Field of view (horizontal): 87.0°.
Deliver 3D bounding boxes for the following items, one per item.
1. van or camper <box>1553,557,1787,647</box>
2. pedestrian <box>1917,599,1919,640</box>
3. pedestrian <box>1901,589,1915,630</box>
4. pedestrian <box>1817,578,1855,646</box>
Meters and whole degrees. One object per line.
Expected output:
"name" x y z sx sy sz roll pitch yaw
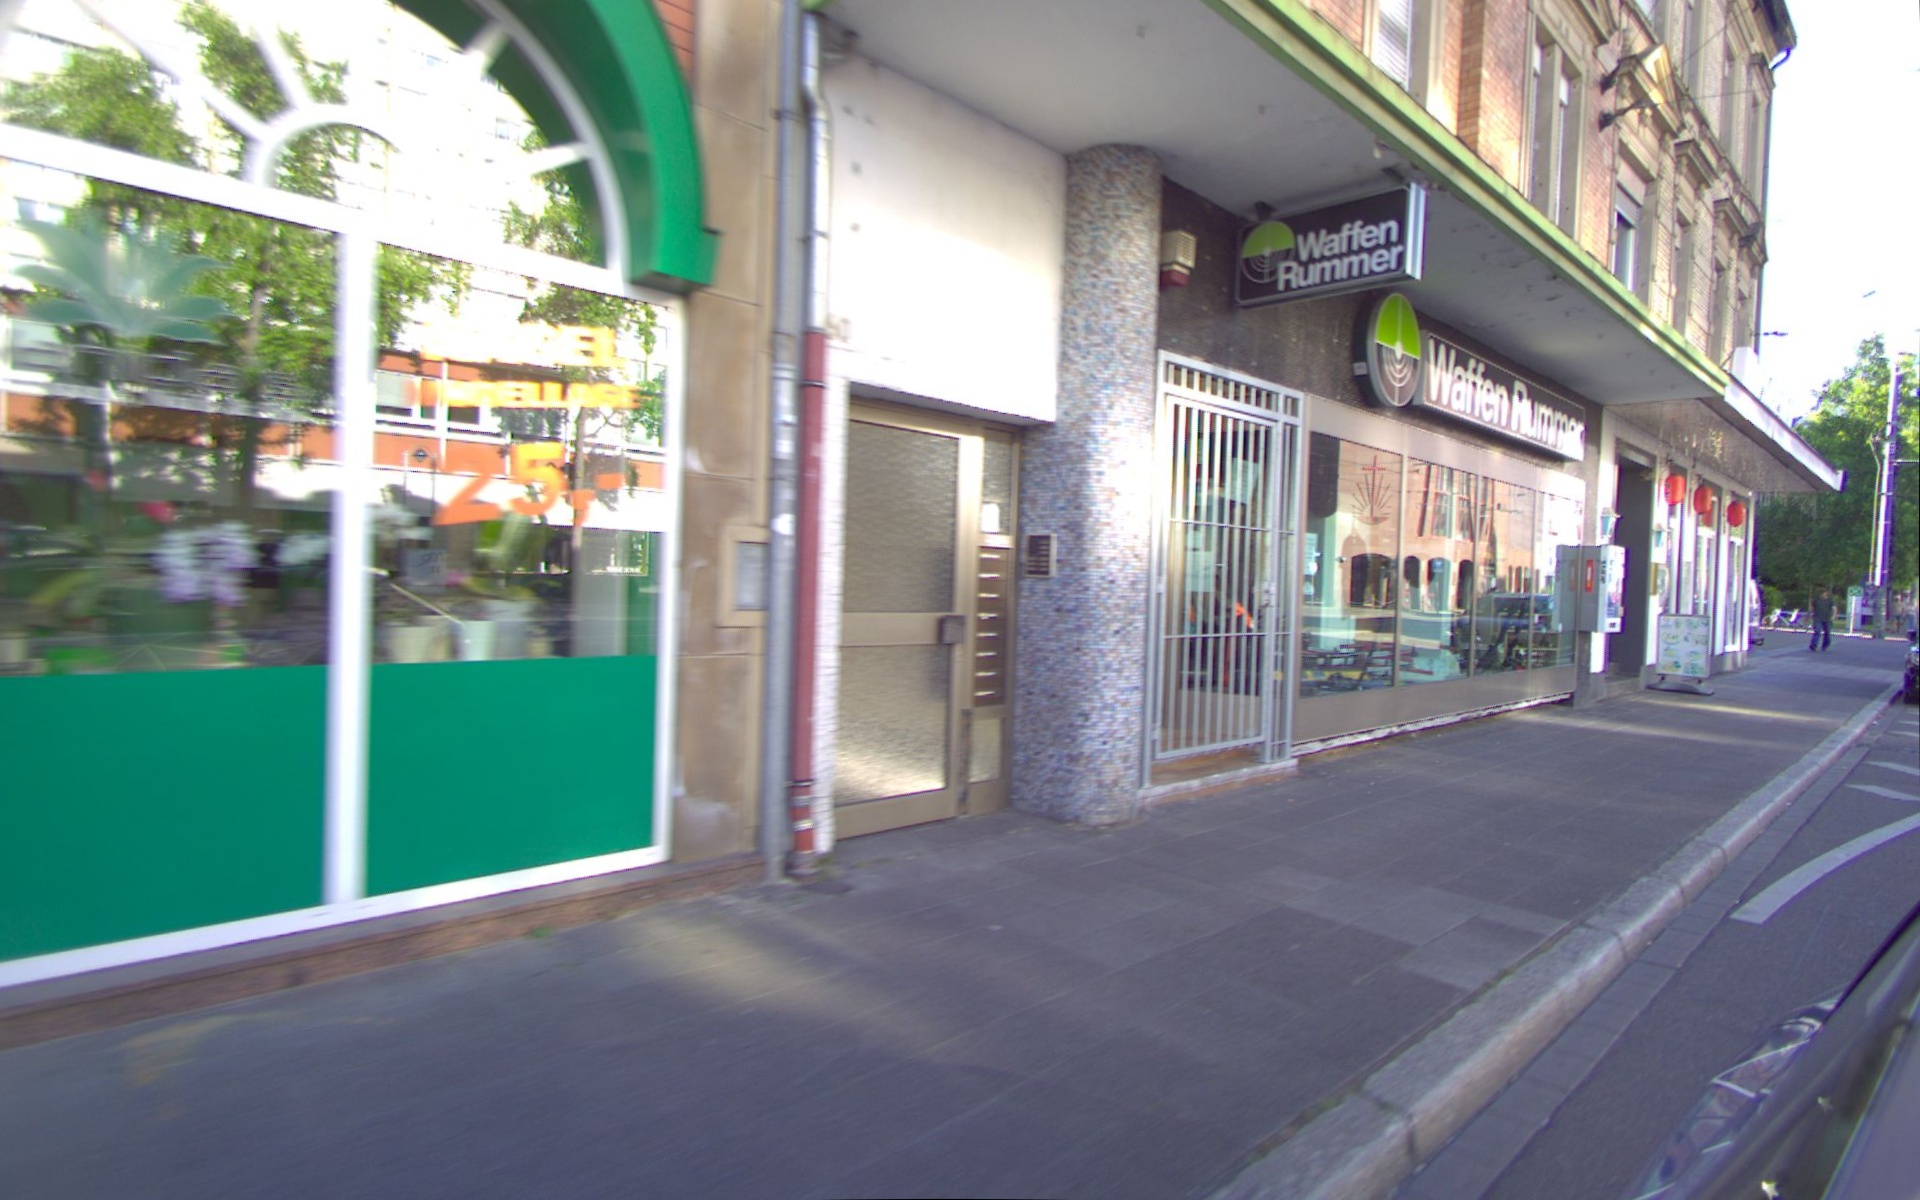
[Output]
"van or camper" 18.947 -0.010 27.218 1.964 1.956 4.707 1 4 -39
"pedestrian" 47.952 0.965 50.309 0.565 2.039 0.507 0 1 -43
"pedestrian" 47.548 0.446 50.762 0.565 2.039 0.507 0 1 -43
"pedestrian" 25.375 0.338 29.306 1.044 1.935 0.685 -1 1 -41
